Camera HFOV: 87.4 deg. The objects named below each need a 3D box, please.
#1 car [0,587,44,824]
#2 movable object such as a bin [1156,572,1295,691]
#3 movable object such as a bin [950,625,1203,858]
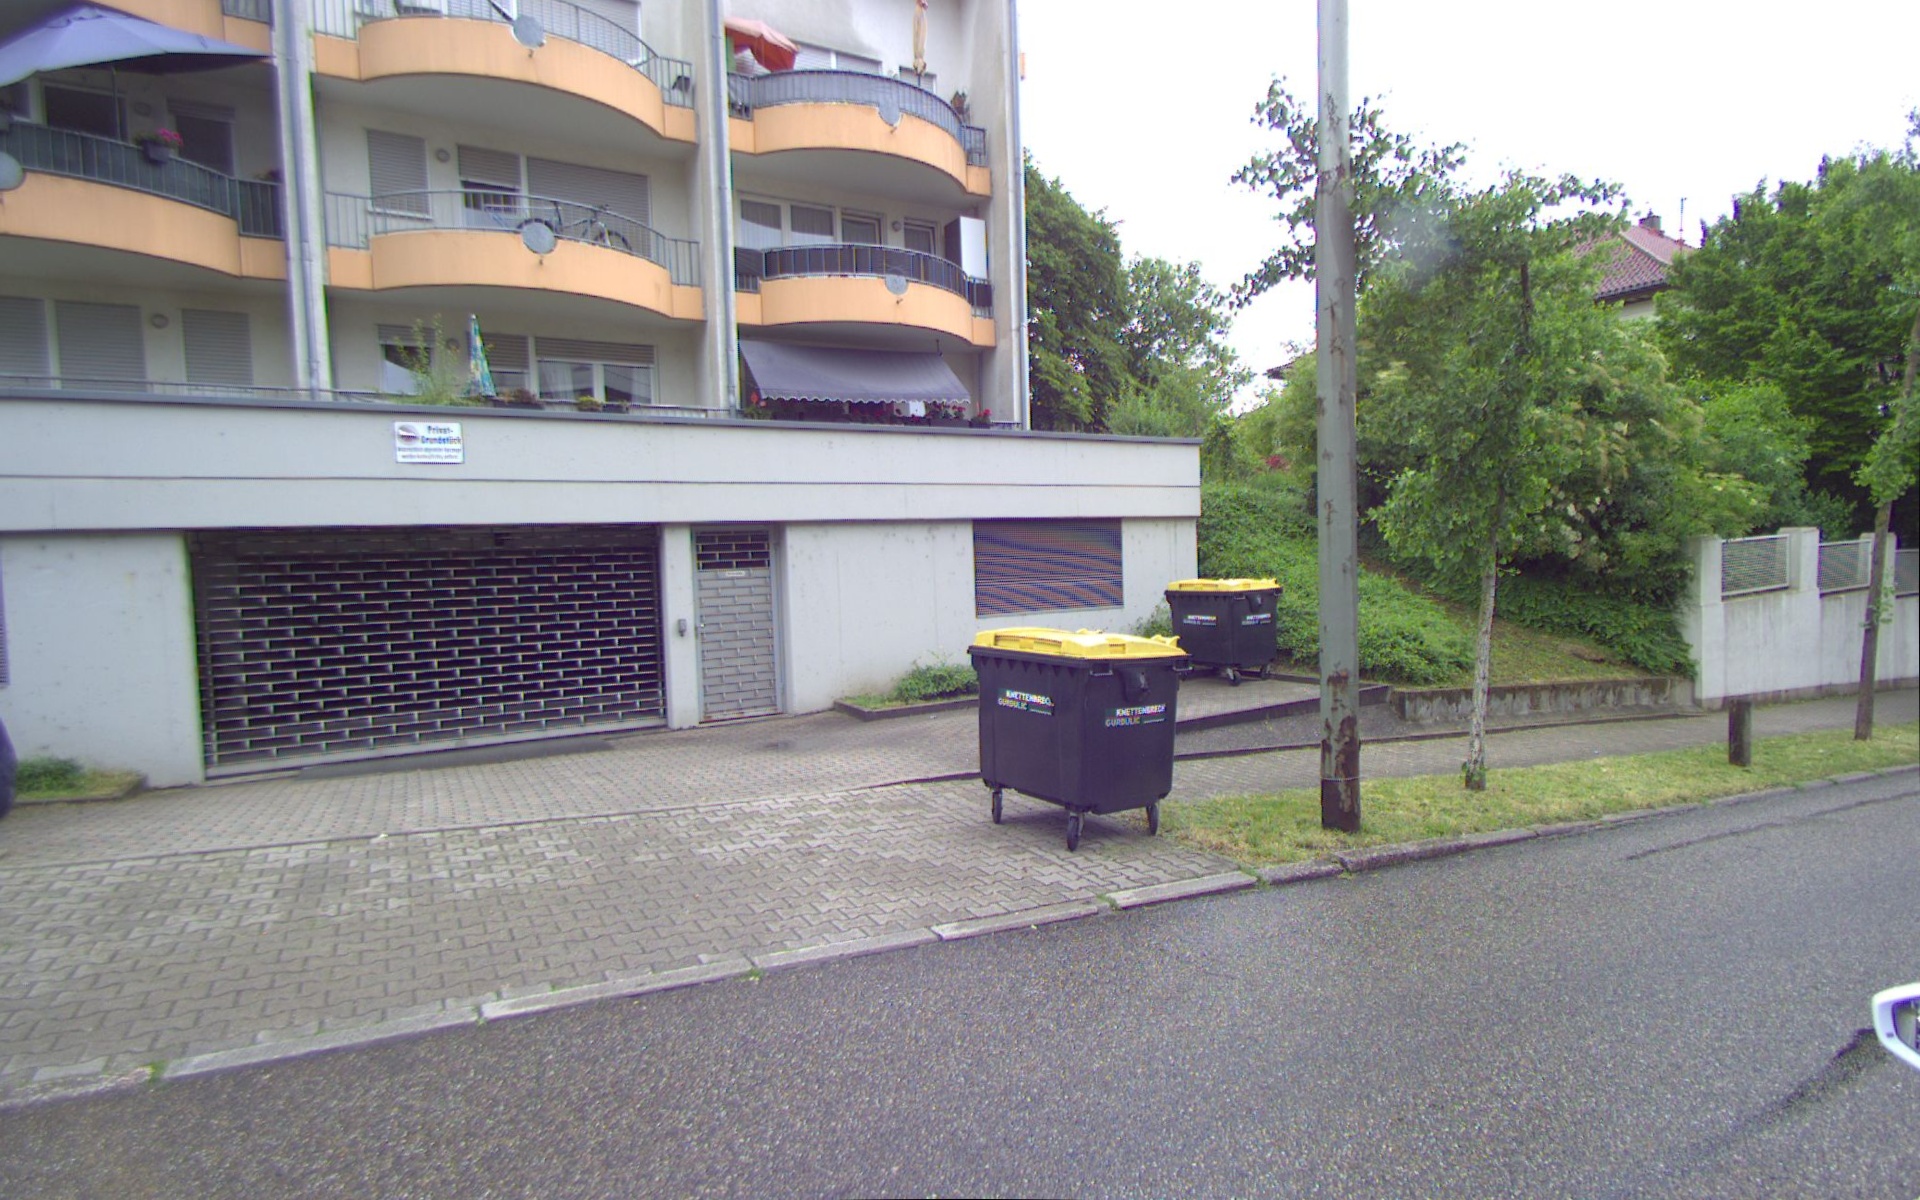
[{"bbox_3d":[-8.132,0.674,5.655,4.050,1.582,1.770,1,-4,-31],"label":"car"},{"bbox_3d":[3.535,0.372,13.404,1.215,1.383,1.289,-7,6,-36],"label":"movable object such as a bin"},{"bbox_3d":[0.775,0.873,6.883,1.145,1.324,1.288,0,2,-38],"label":"movable object such as a bin"}]
